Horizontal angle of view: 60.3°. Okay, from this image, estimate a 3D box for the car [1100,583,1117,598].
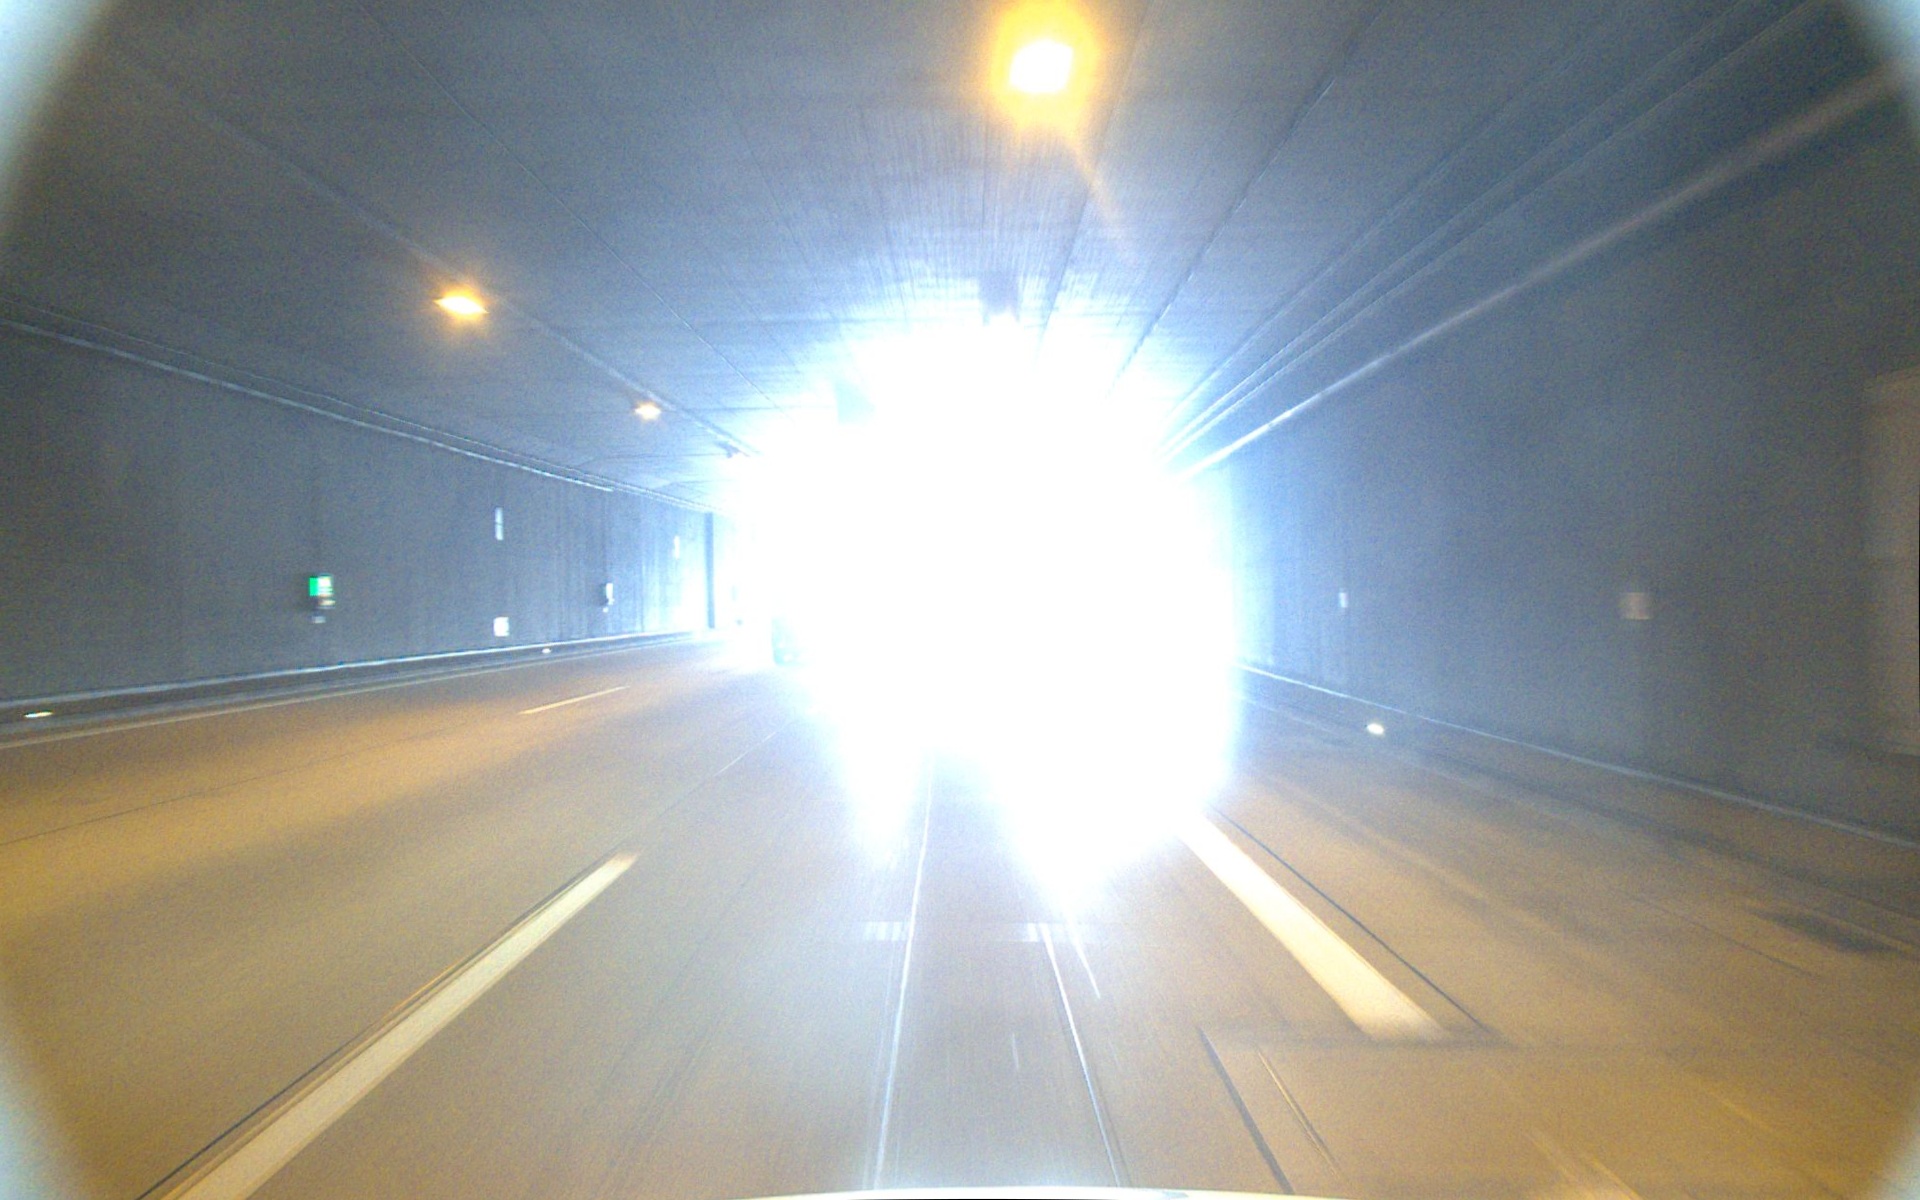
[{"bbox_3d":[17.088,-1.098,190.065,1.889,1.671,4.003,0,0,7],"label":"car"}]

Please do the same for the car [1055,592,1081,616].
[{"bbox_3d":[8.281,0.290,126.135,1.890,1.671,4.002,0,-2,5],"label":"car"}]

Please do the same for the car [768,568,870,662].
[{"bbox_3d":[-3.088,0.310,36.876,1.870,1.978,3.872,0,0,1],"label":"car"}]

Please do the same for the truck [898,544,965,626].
[{"bbox_3d":[-1.294,-0.701,79.394,2.976,3.737,7.393,0,0,1],"label":"truck"}]

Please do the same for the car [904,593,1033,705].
[{"bbox_3d":[0.108,0.648,23.943,1.706,1.489,3.871,0,0,0],"label":"car"}]

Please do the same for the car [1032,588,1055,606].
[{"bbox_3d":[8.228,-0.261,162.372,1.951,1.660,4.003,0,-1,8],"label":"car"}]

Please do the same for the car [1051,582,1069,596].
[{"bbox_3d":[12.498,-1.352,207.221,1.951,1.660,4.003,0,-1,7],"label":"car"}]

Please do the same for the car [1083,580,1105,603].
[{"bbox_3d":[12.639,-0.793,155.748,1.951,2.049,4.002,0,-2,6],"label":"car"}]

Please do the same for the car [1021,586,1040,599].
[{"bbox_3d":[8.915,-0.947,208.906,1.889,1.671,4.003,0,0,9],"label":"car"}]

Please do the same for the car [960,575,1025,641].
[{"bbox_3d":[1.009,0.229,49.500,1.818,1.887,4.001,0,0,2],"label":"car"}]
